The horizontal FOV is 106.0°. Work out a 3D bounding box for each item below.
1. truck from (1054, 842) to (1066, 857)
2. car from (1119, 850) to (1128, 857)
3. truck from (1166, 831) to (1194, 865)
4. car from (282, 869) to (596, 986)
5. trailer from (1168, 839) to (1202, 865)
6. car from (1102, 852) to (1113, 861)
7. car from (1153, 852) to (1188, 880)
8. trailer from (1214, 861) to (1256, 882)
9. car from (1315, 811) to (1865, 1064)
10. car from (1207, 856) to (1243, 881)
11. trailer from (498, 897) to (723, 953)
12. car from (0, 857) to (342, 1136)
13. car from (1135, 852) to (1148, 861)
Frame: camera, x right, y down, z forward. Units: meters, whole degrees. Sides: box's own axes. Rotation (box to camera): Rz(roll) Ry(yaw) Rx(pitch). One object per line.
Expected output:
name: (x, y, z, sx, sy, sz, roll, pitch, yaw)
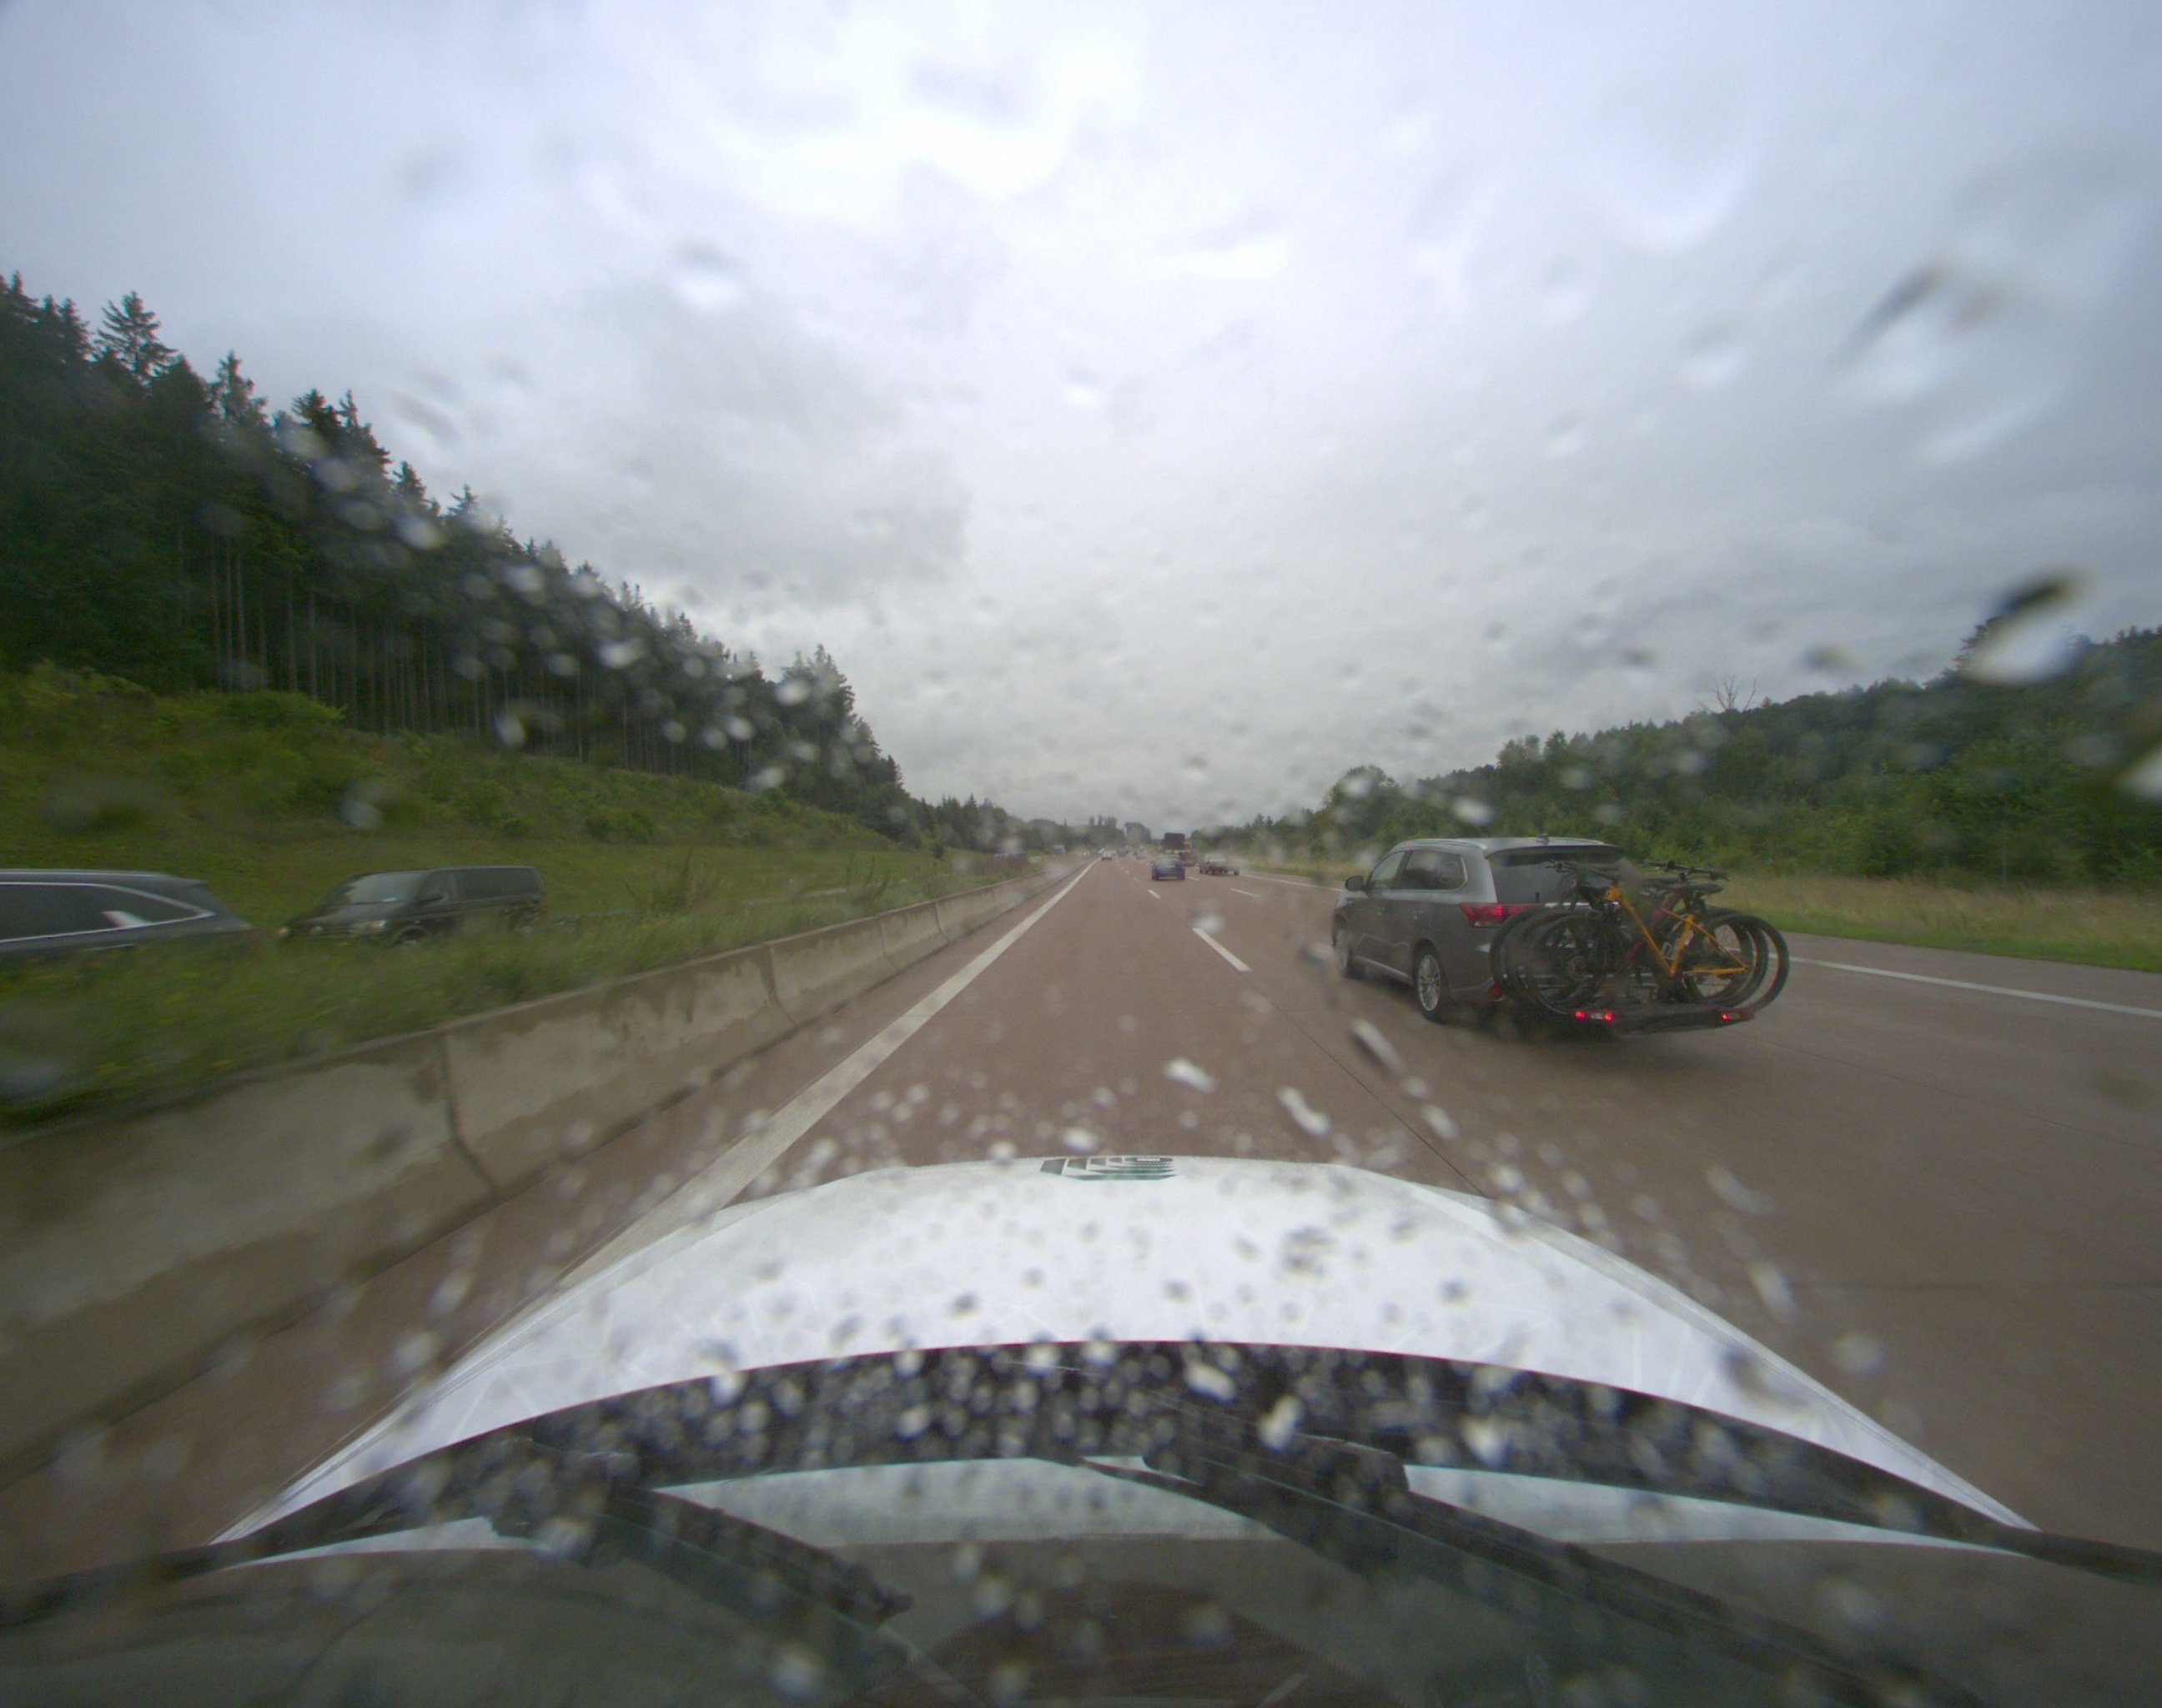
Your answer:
truck: (-6.358, -1.434, 244.523, 2.954, 4.319, 7.652, -5, 1, 1)
car: (11.220, -0.089, 214.210, 2.313, 1.750, 4.880, 0, -1, 3)
truck: (11.909, -0.698, 98.702, 2.885, 3.965, 6.993, 0, -1, 3)
car: (-12.991, 1.336, 17.167, 1.986, 2.014, 5.676, -1, -1, 2)
trailer: (11.518, -0.147, 91.025, 2.869, 2.675, 11.406, 0, -1, 3)
car: (4.899, 0.454, 149.203, 1.866, 1.444, 4.881, 0, 1, 3)
car: (5.189, 0.689, 47.557, 1.764, 1.564, 4.149, 0, -1, 3)
trailer: (9.675, 1.106, 51.509, 1.963, 1.166, 4.642, 0, 1, 3)
car: (4.058, 0.571, 8.084, 1.986, 1.593, 5.822, 0, -1, 2)
car: (9.792, 0.968, 55.718, 1.691, 1.611, 4.979, -1, -1, 2)
trailer: (-12.876, 1.902, 23.084, 2.197, 0.998, 6.853, -2, -1, 2)
car: (-7.853, 0.913, 5.015, 1.882, 1.780, 4.942, 0, -1, 3)
car: (11.727, 0.498, 158.109, 2.313, 1.750, 4.880, 0, -1, 3)
